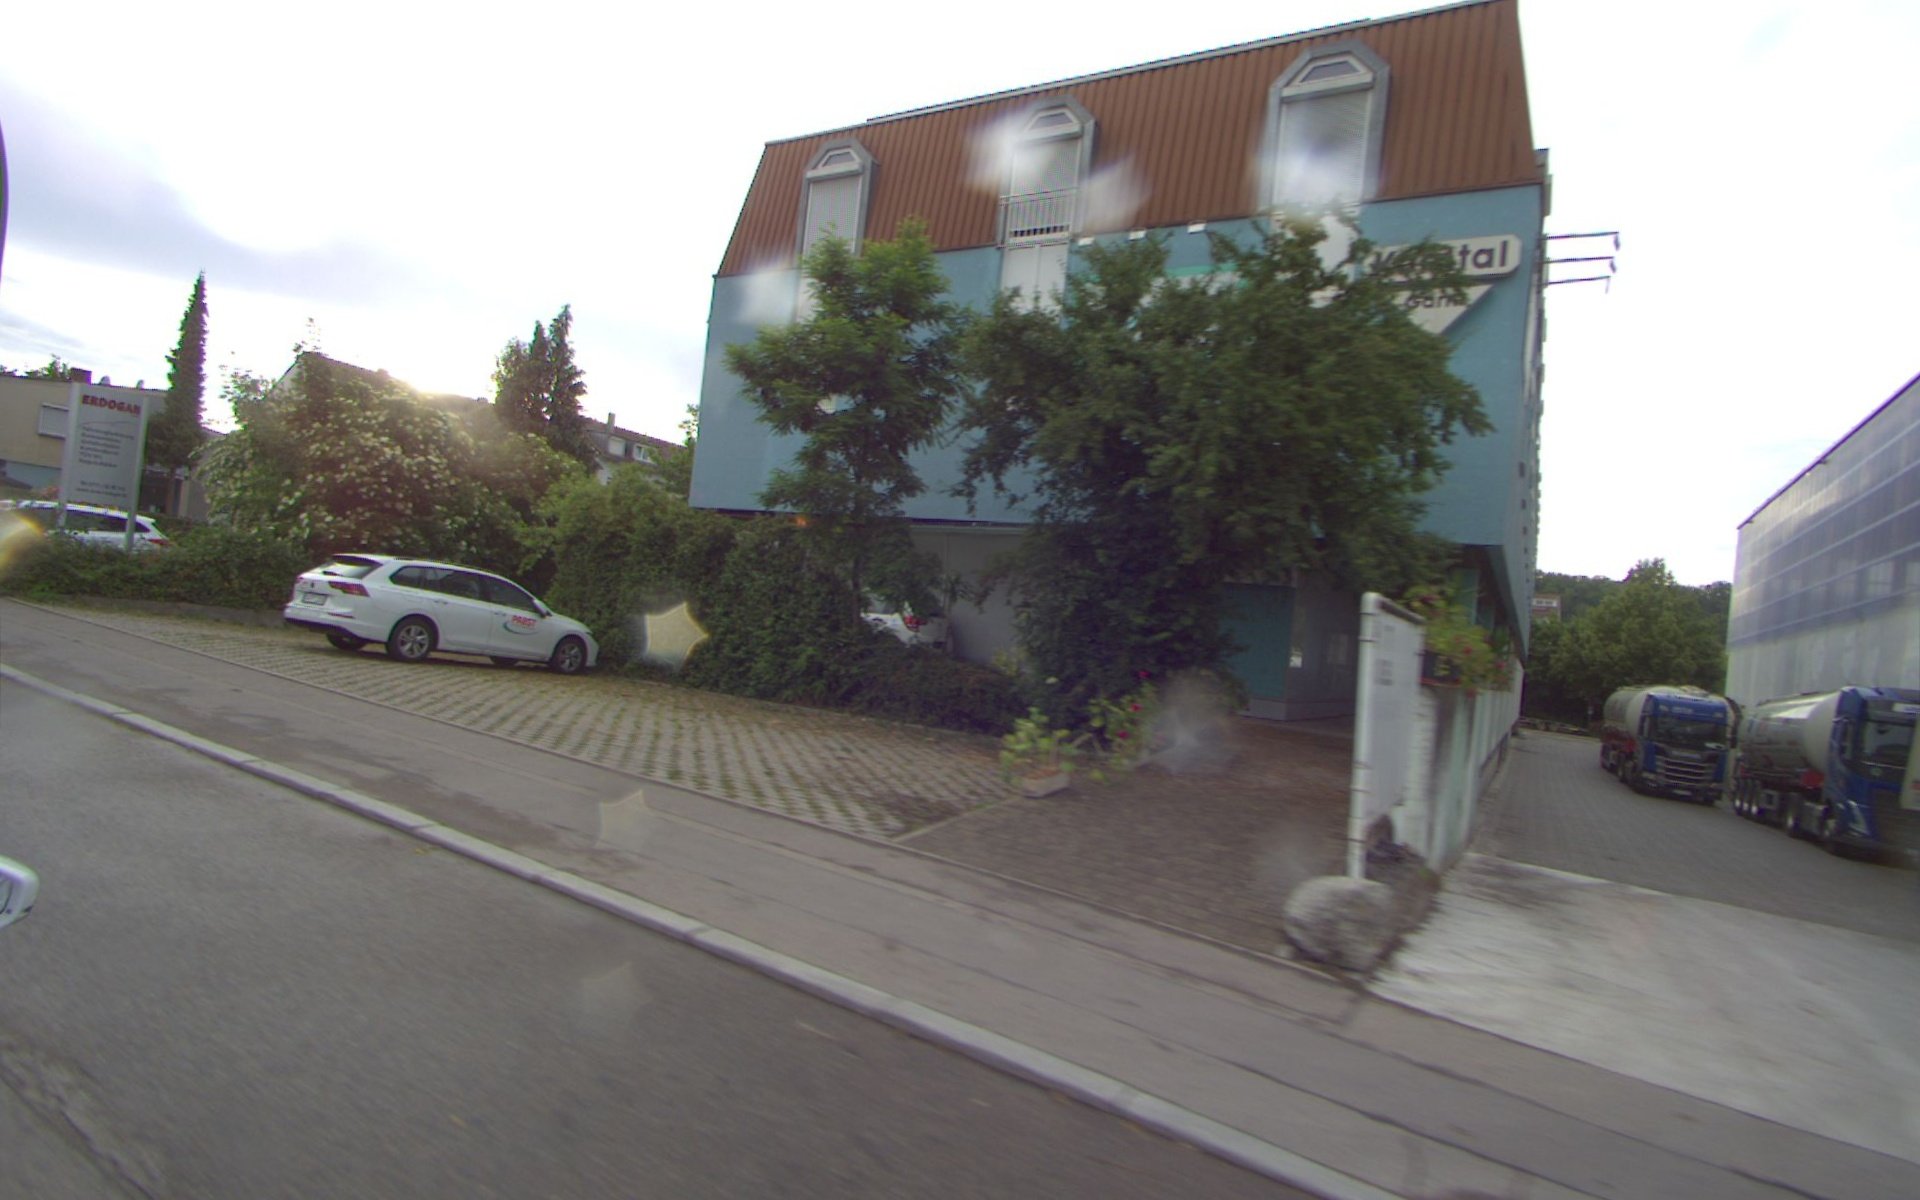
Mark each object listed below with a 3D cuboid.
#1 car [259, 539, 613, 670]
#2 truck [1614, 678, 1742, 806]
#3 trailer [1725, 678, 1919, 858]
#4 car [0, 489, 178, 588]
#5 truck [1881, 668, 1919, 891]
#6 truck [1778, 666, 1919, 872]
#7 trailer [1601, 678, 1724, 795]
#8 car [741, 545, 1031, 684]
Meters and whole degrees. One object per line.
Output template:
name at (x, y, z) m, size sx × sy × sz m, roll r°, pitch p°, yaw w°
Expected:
car at (-7.769, 0.164, 15.411) m, size 1.848 × 1.408 × 4.426 m, roll 6°, pitch -3°, yaw 30°
truck at (26.183, 5.043, 36.969) m, size 2.930 × 3.950 × 5.777 m, roll 6°, pitch -1°, yaw 31°
trailer at (24.035, 4.436, 28.056) m, size 2.676 × 3.903 × 9.931 m, roll 6°, pitch -2°, yaw 30°
car at (-17.703, -1.269, 18.841) m, size 1.871 × 1.492 × 4.348 m, roll 6°, pitch -2°, yaw 30°
truck at (16.124, 2.802, 13.945) m, size 2.676 × 3.748 × 8.560 m, roll 6°, pitch -3°, yaw 29°
truck at (20.911, 3.796, 22.615) m, size 2.674 × 3.964 × 6.094 m, roll 6°, pitch -3°, yaw 31°
trailer at (29.159, 5.482, 42.171) m, size 3.021 × 3.967 × 9.349 m, roll 6°, pitch -1°, yaw 30°
car at (-1.276, 0.230, 17.038) m, size 4.353 × 1.760 × 1.999 m, roll 6°, pitch -2°, yaw 29°
